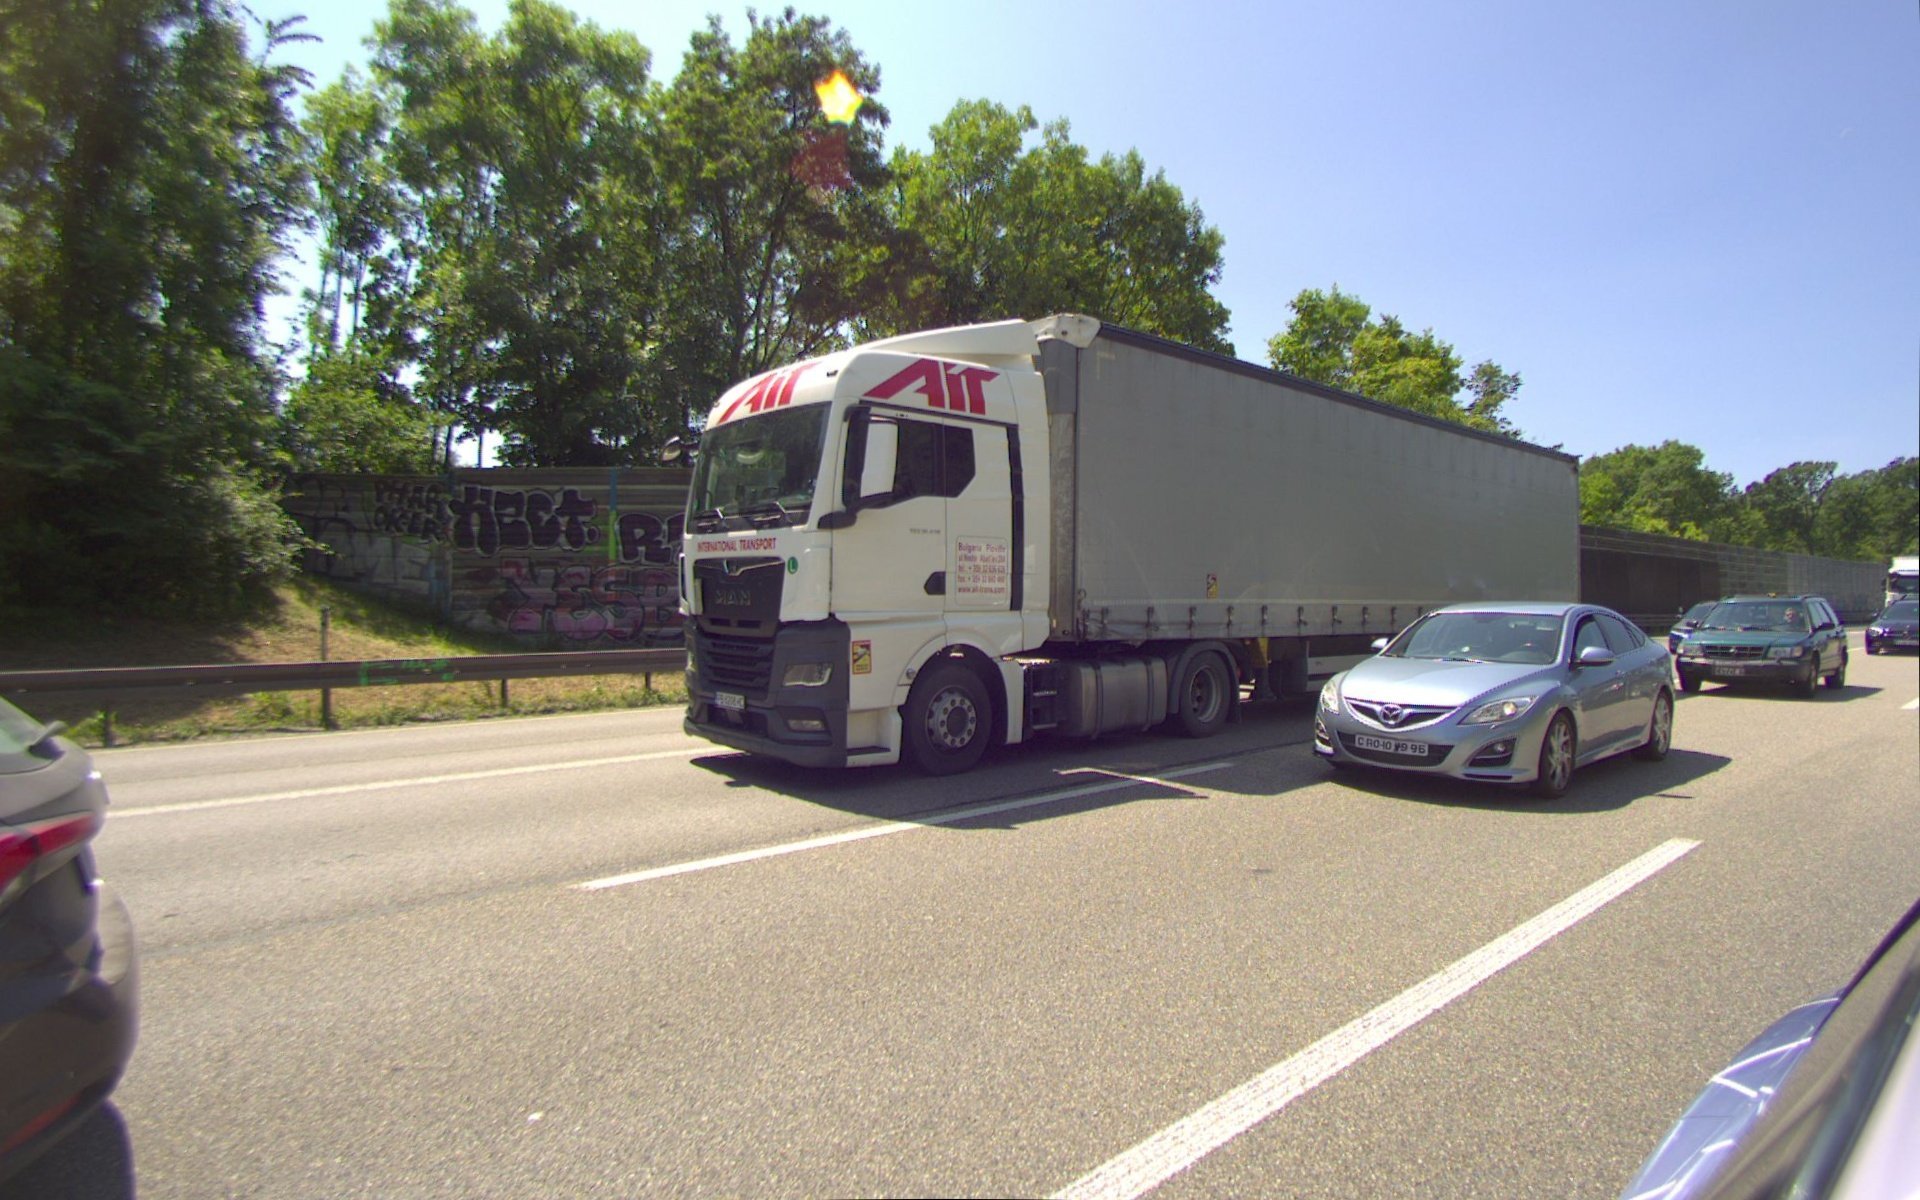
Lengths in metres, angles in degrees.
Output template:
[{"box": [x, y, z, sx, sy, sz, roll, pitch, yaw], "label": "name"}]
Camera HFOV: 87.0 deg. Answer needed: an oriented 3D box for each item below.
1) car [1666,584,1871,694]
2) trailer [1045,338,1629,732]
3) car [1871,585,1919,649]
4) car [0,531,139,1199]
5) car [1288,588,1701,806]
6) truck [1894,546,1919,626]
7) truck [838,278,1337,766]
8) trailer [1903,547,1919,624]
[{"box": [13.227, 0.585, 16.492, 3.929, 1.579, 1.906, 1, -1, -41], "label": "car"}, {"box": [6.934, -0.700, 16.010, 13.354, 4.142, 2.602, 0, 0, -41], "label": "trailer"}, {"box": [26.780, 0.445, 27.823, 3.928, 1.672, 1.997, 0, -1, -39], "label": "car"}, {"box": [-3.876, 0.626, 1.262, 4.327, 1.532, 1.840, 1, -1, -43], "label": "car"}, {"box": [4.784, 0.670, 8.813, 4.104, 1.452, 1.858, 1, -1, -42], "label": "car"}, {"box": [53.451, -0.722, 55.239, 5.323, 4.269, 2.811, 1, -1, -39], "label": "truck"}, {"box": [1.626, -0.673, 11.383, 5.455, 4.142, 2.602, 0, 0, -41], "label": "truck"}, {"box": [58.641, -0.740, 59.436, 13.218, 4.269, 2.821, 1, -1, -38], "label": "trailer"}]
